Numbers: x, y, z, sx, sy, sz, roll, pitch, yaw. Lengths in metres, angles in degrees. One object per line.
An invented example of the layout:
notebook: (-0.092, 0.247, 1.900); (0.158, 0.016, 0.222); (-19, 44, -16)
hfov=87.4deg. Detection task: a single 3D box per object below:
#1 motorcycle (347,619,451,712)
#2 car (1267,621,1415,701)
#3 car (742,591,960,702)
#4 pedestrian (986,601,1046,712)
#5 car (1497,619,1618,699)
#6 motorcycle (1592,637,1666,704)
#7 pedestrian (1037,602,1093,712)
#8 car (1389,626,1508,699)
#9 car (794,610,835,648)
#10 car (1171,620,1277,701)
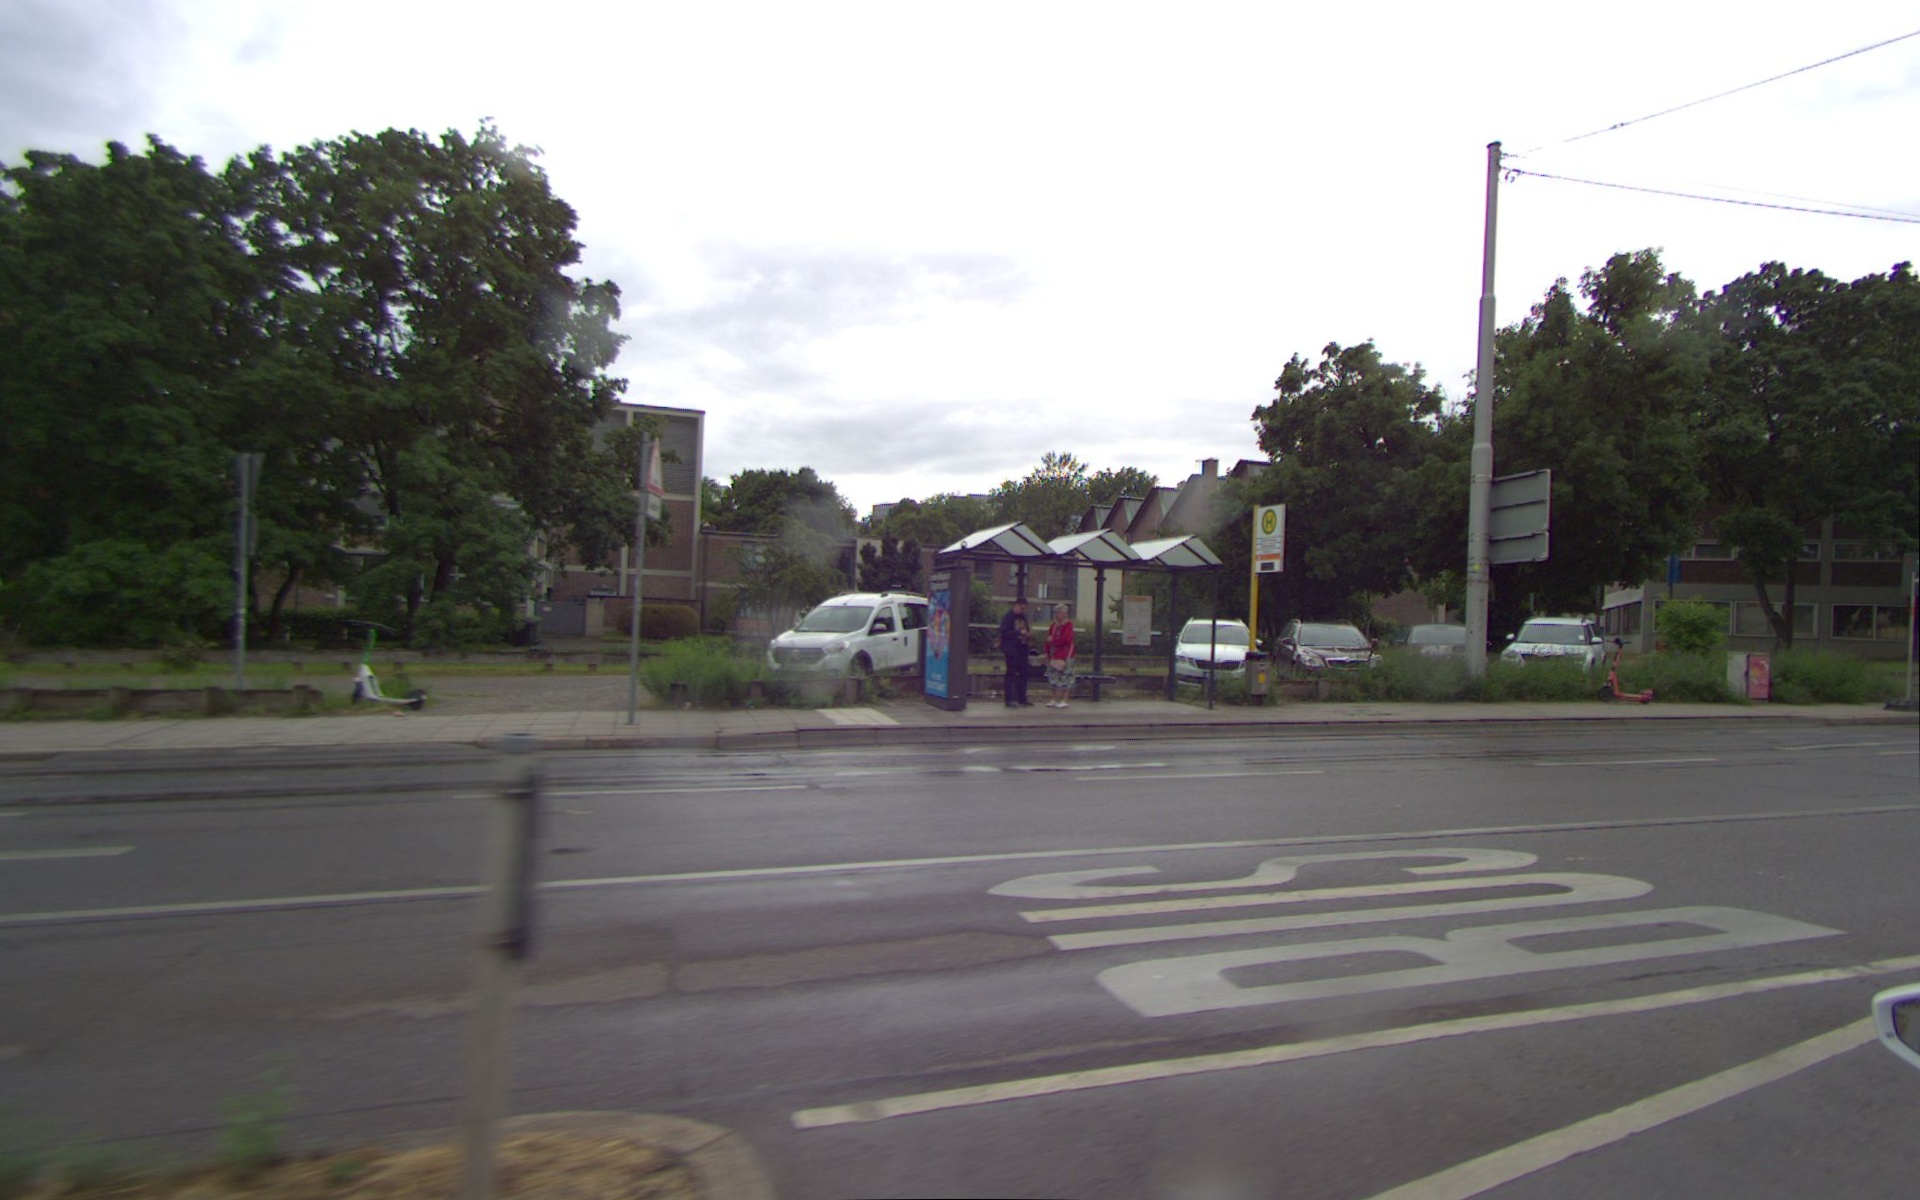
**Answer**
motorcycle: (-7.995, 0.915, 14.335); (1.253, 1.264, 0.511); (2, 0, -32)
car: (7.891, 1.203, 21.257); (1.866, 1.367, 4.586); (2, 0, 7)
car: (-1.880, 0.793, 19.007); (1.978, 1.778, 4.720); (2, 0, 24)
pedestrian: (0.890, 0.887, 16.000); (0.663, 1.718, 0.681); (2, 0, -26)
car: (14.076, 1.296, 23.551); (1.840, 1.631, 4.507); (2, 0, 38)
motorcycle: (13.150, 1.386, 19.749); (1.247, 1.264, 0.514); (2, 0, -17)
pedestrian: (1.690, 0.905, 16.240); (0.634, 1.718, 0.625); (2, 0, -26)
car: (10.772, 1.324, 22.407); (1.806, 1.367, 3.598); (2, 0, 17)
car: (-8.551, 1.669, 58.815); (1.966, 2.040, 3.990); (2, 0, -13)
car: (5.338, 1.151, 20.752); (1.866, 1.367, 4.383); (2, 0, 12)
